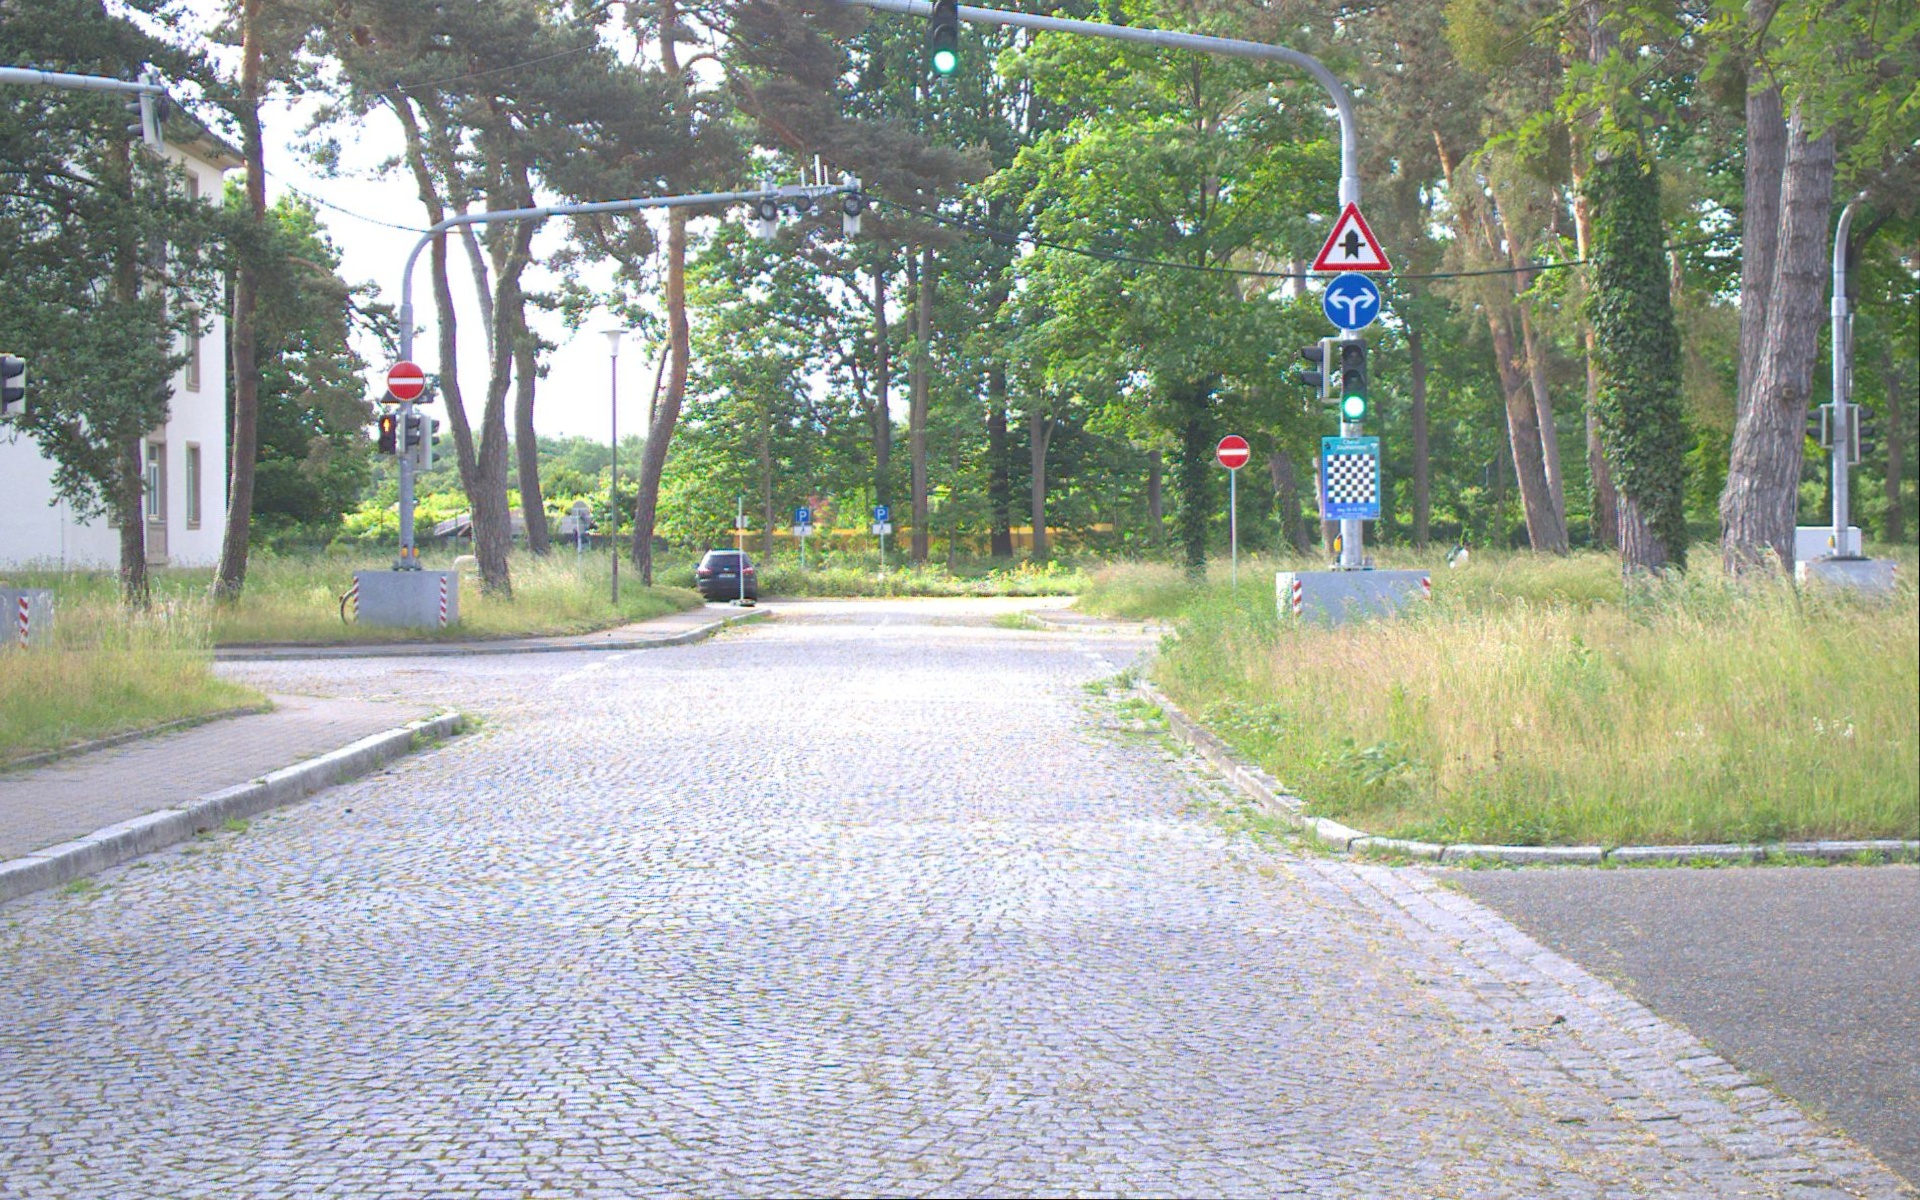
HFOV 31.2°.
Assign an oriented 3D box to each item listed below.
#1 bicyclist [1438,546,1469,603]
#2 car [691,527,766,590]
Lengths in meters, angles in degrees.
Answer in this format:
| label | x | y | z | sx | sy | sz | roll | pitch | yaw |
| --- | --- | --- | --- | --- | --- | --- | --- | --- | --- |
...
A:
| label | x | y | z | sx | sy | sz | roll | pitch | yaw |
| --- | --- | --- | --- | --- | --- | --- | --- | --- | --- |
| bicyclist | 14.619 | -0.763 | 101.805 | 0.748 | 1.665 | 0.526 | 1 | 0 | -14 |
| car | -6.954 | -1.253 | 103.602 | 2.056 | 1.840 | 4.000 | 0 | 1 | -1 |
